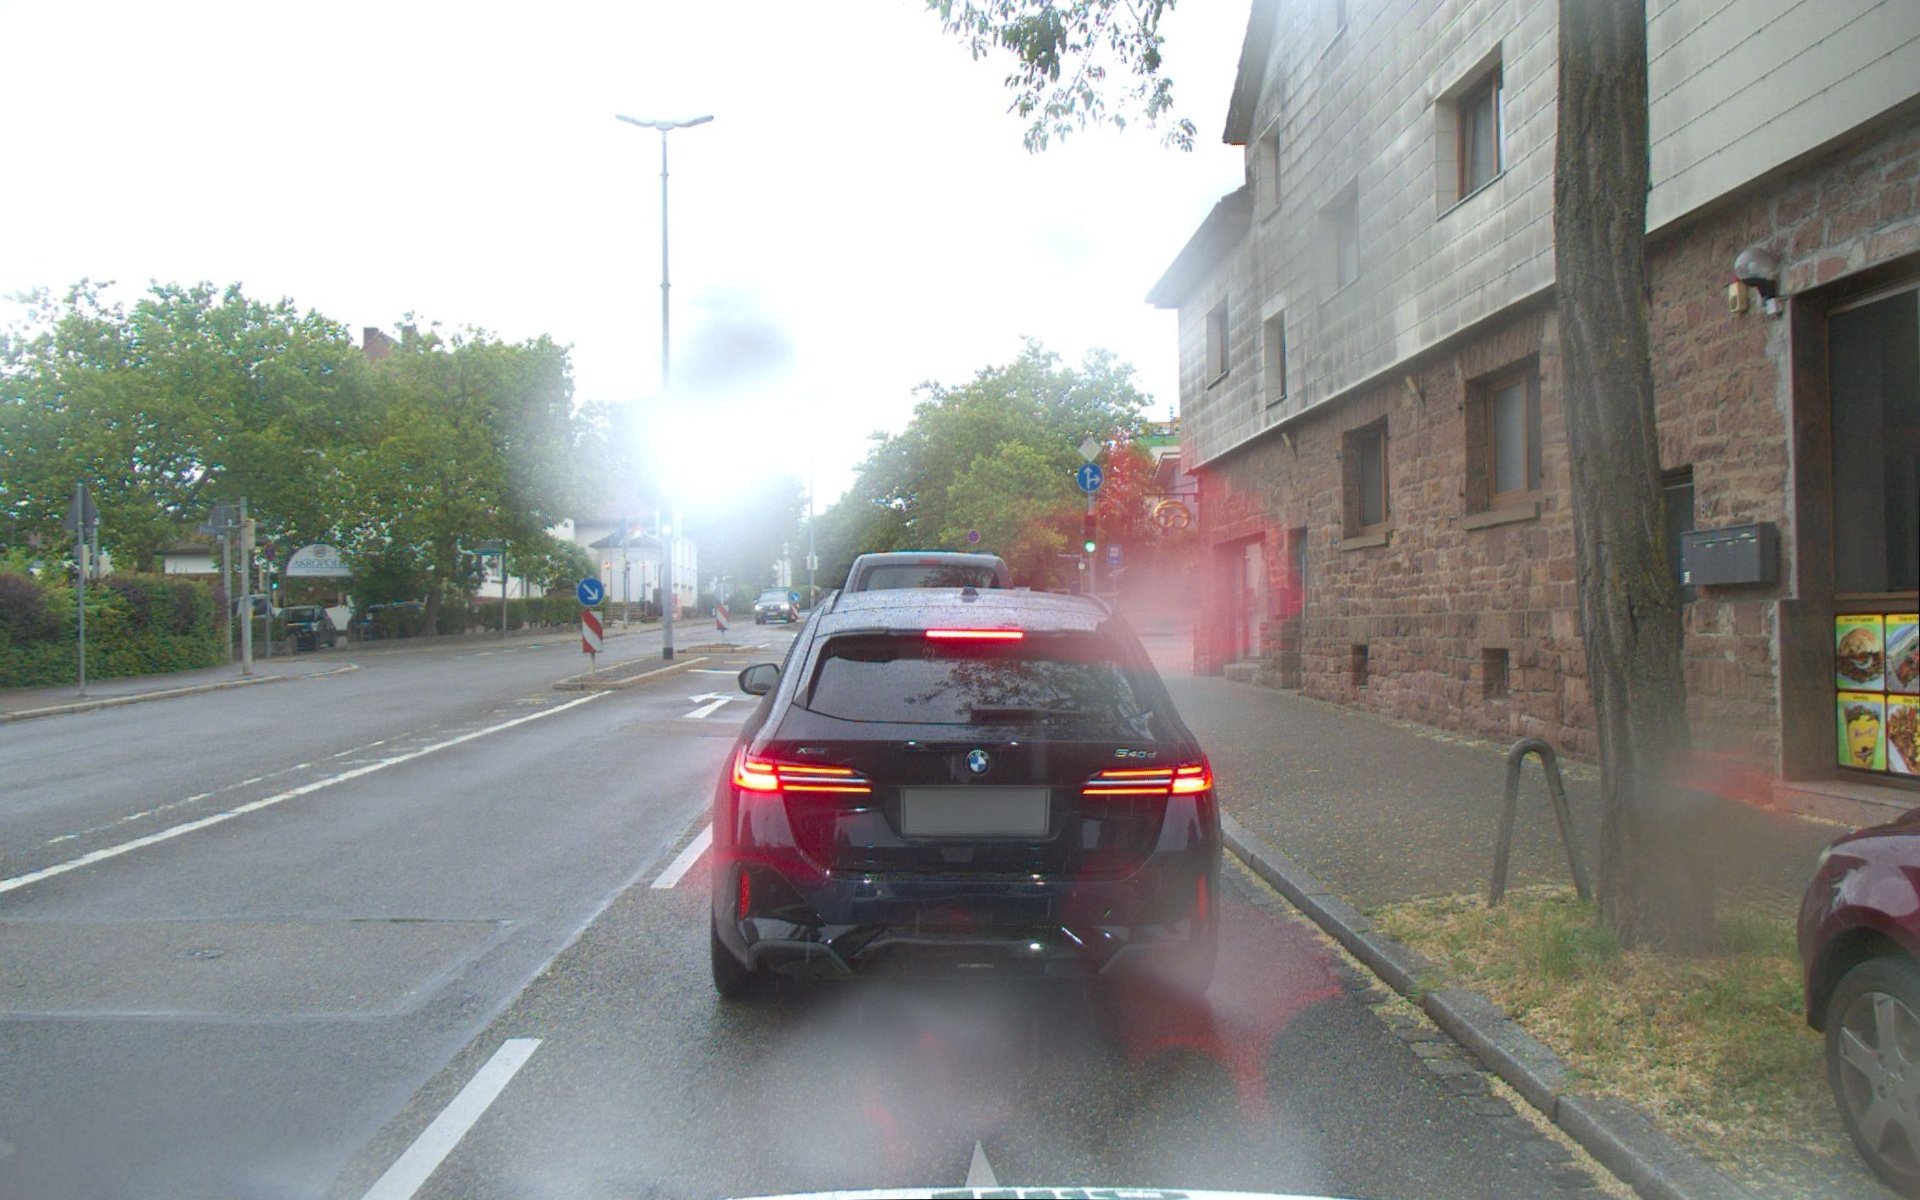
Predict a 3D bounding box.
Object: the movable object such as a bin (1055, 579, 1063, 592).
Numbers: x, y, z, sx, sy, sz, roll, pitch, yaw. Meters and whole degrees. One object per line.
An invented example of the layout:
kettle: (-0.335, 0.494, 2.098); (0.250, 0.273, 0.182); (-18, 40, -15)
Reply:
movable object such as a bin: (6.892, -1.011, 115.392); (0.440, 0.921, 0.463); (1, -1, 14)

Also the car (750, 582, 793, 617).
car: (-9.136, -0.056, 80.438); (1.861, 1.604, 4.499); (-1, 1, -4)

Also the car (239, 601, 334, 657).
car: (-23.132, 0.975, 56.955); (1.772, 1.578, 4.000); (1, 4, -3)

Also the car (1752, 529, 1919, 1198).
car: (3.063, 0.578, 2.687); (1.578, 1.530, 3.753); (1, -2, -4)

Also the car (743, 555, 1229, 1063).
car: (-0.023, 0.661, 6.903); (1.494, 1.561, 3.529); (1, 0, -4)

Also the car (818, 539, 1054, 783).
car: (-0.297, 0.477, 14.497); (1.776, 1.840, 3.753); (1, 0, -4)
